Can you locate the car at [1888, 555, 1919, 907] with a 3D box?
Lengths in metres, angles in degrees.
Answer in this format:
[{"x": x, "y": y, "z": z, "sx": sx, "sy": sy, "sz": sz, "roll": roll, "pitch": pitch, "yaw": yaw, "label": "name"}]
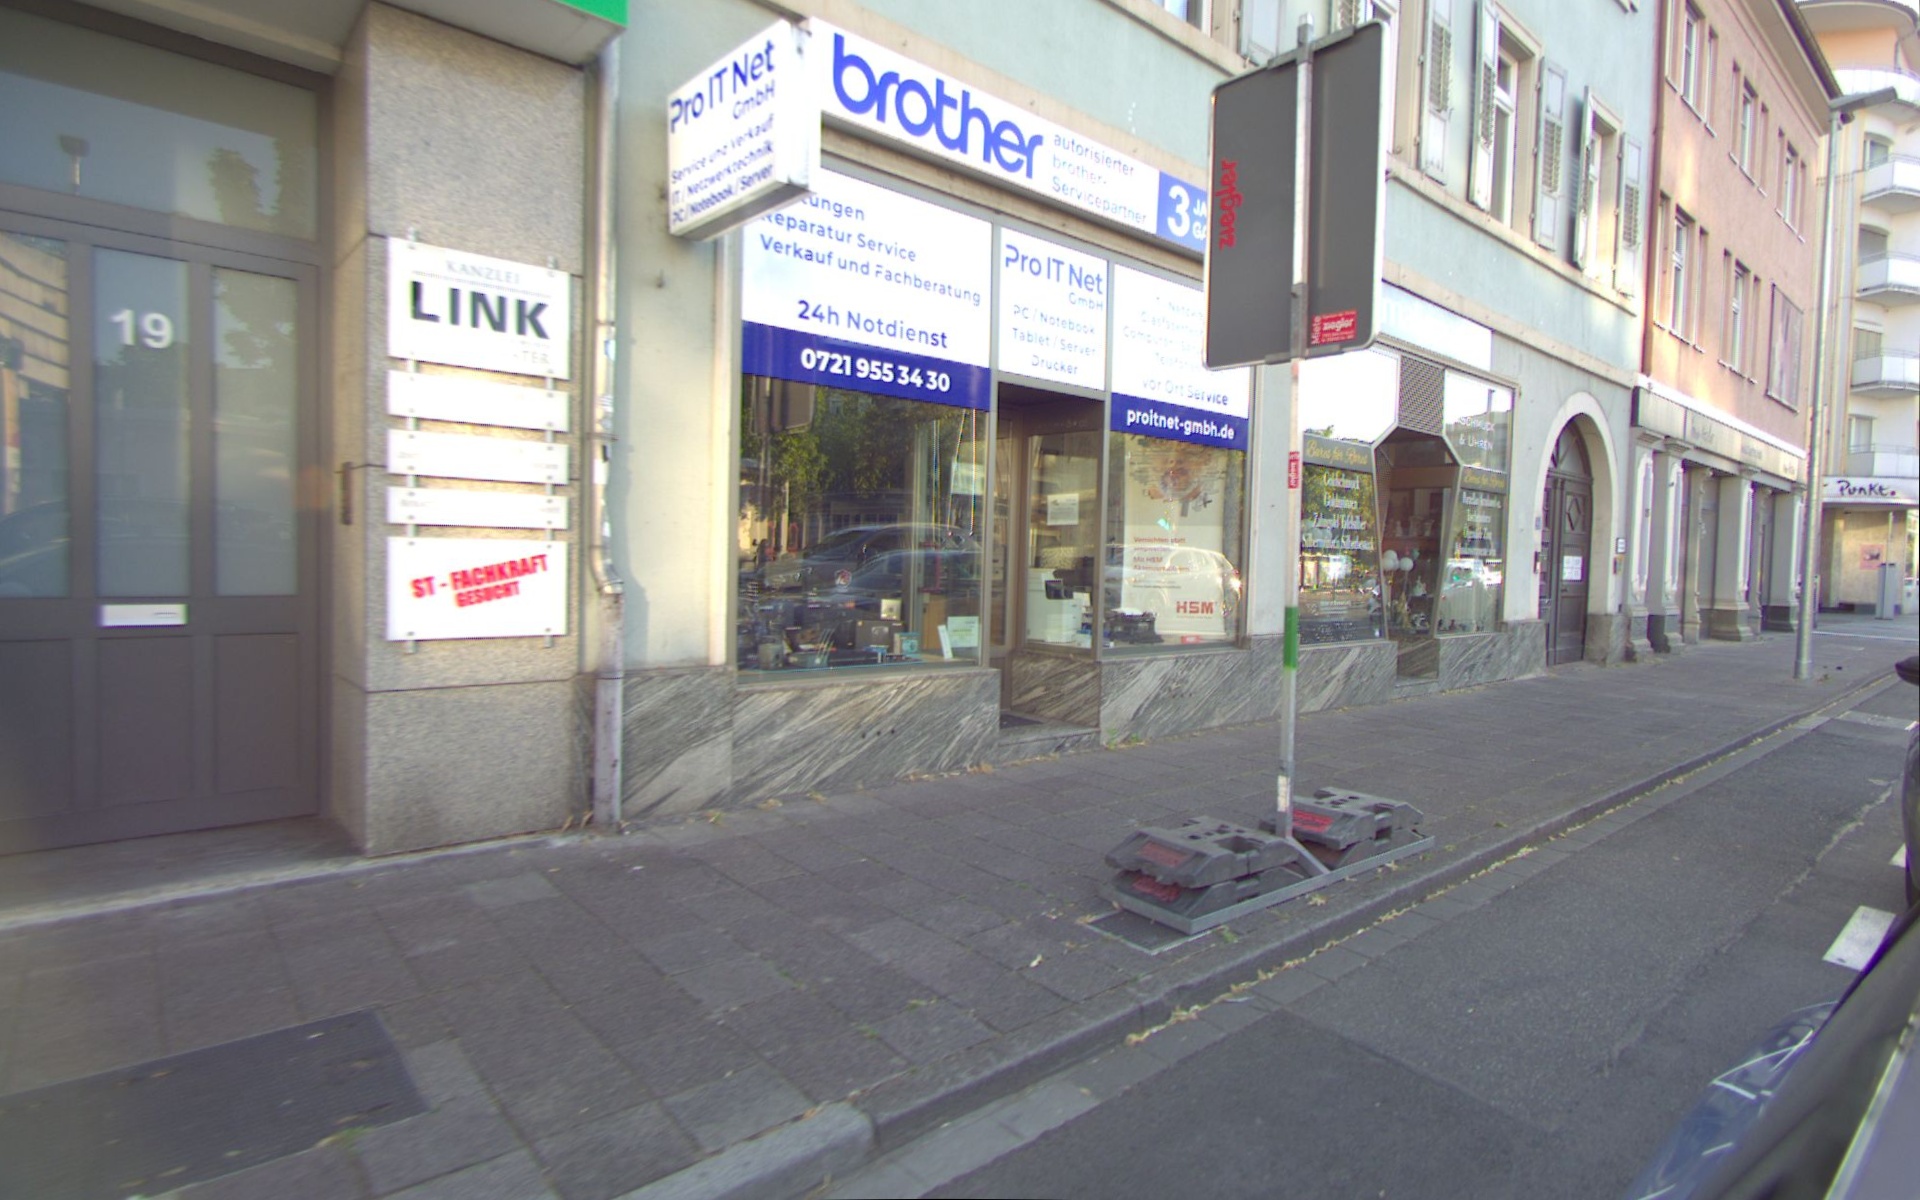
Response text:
[{"x": 5.971, "y": 0.556, "z": 4.751, "sx": 3.835, "sy": 1.460, "sz": 1.751, "roll": -1, "pitch": 2, "yaw": -38, "label": "car"}]
